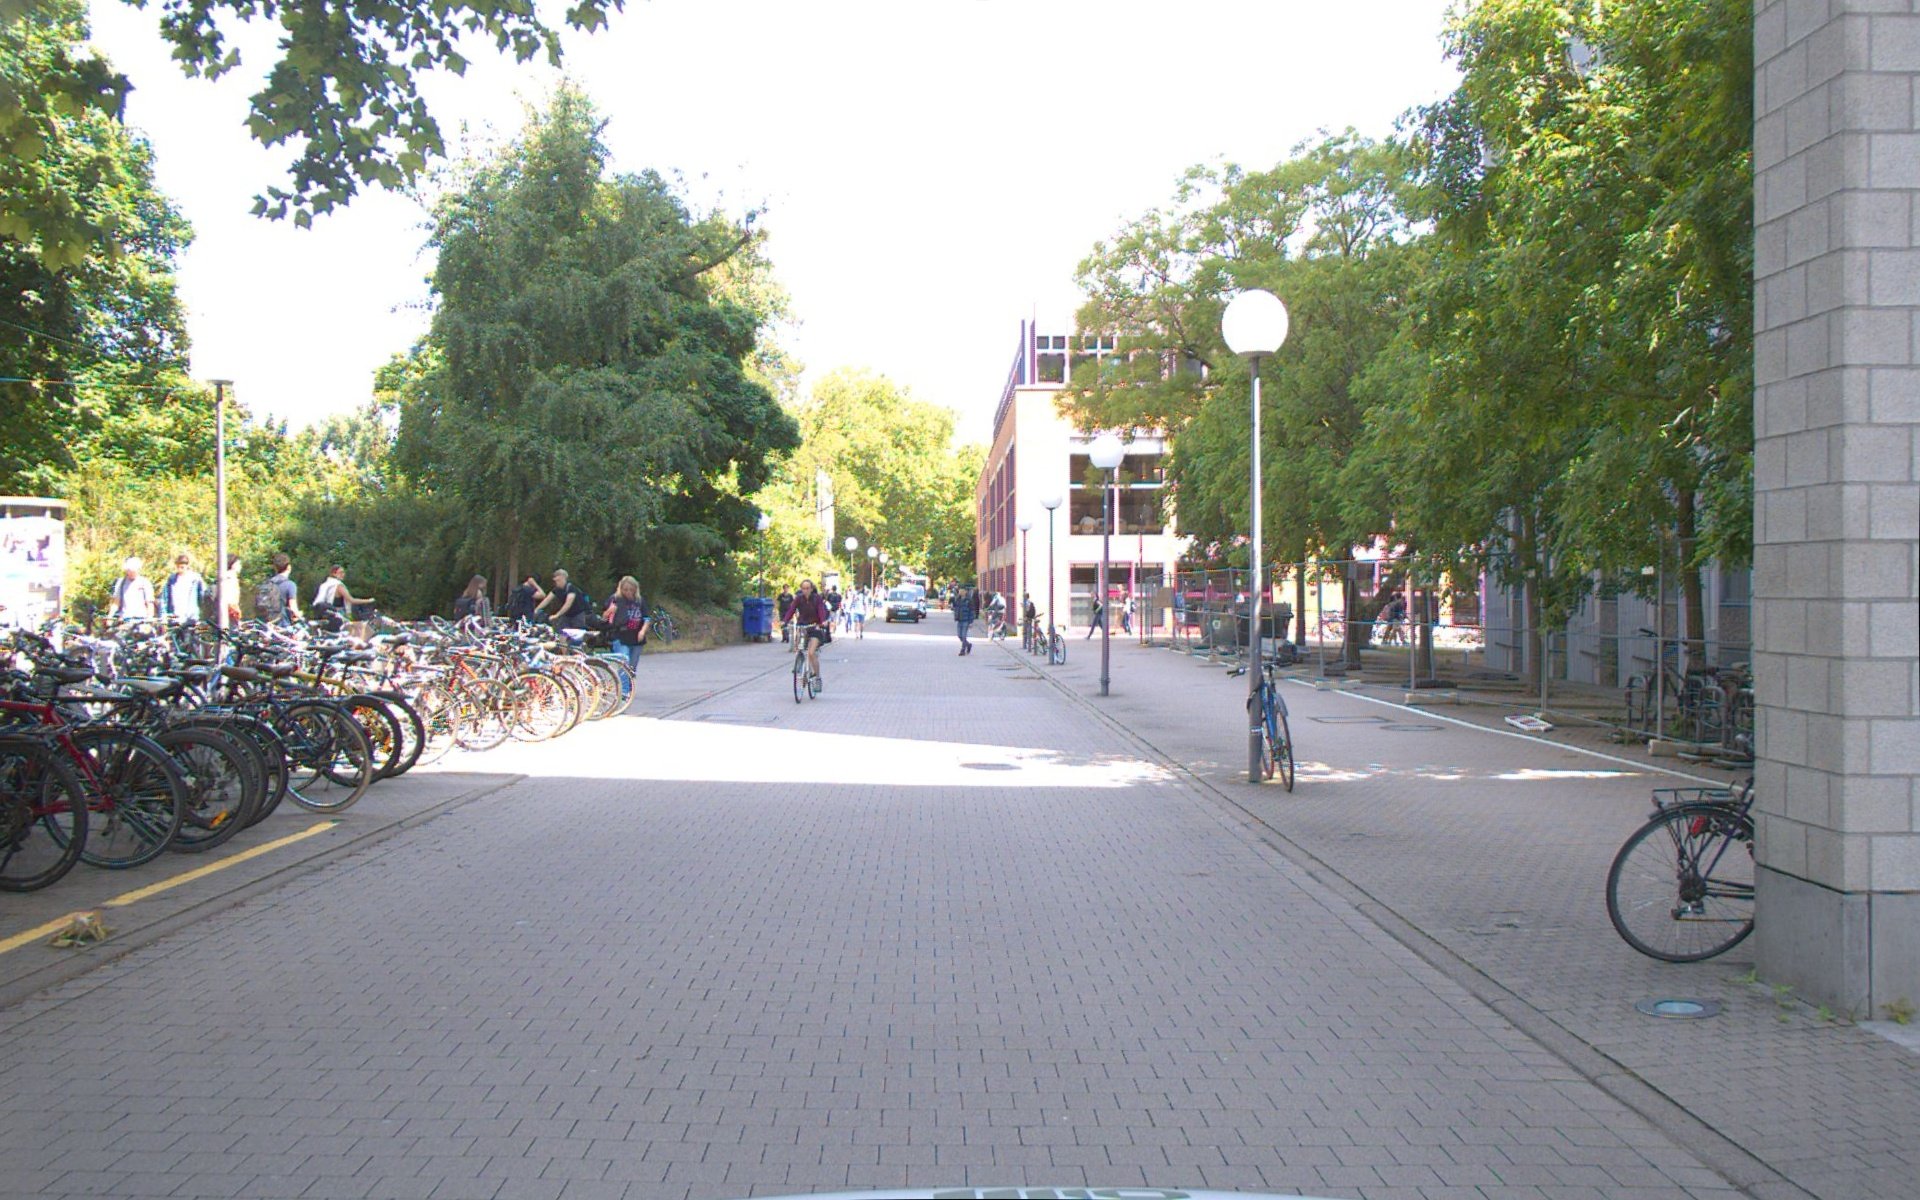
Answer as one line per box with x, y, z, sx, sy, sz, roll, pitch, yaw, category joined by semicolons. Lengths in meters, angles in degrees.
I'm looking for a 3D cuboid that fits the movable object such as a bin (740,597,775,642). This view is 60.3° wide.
-6.392;0.616;52.252;0.694;1.359;1.240;3;0;9;movable object such as a bin

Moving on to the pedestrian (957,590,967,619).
0.124;0.258;97.217;0.574;1.702;0.817;-1;-1;0;pedestrian

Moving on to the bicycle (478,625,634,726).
-4.565;0.852;18.751;1.662;1.110;0.473;1;0;-7;bicycle

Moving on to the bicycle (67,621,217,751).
-7.505;0.765;15.146;1.665;1.102;0.472;1;0;34;bicycle

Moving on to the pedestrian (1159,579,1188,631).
7.387;0.174;57.163;0.883;1.759;0.685;-1;-2;17;pedestrian

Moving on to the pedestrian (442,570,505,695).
-6.958;0.459;23.661;0.670;1.754;0.731;1;0;-3;pedestrian

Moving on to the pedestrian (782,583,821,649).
-4.597;0.446;47.880;0.773;1.877;1.109;1;0;-25;pedestrian

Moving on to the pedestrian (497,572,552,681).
-7.194;0.433;27.364;0.670;1.754;0.903;1;0;-3;pedestrian

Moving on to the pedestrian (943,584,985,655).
0.114;0.525;45.006;0.867;1.890;1.033;1;0;17;pedestrian

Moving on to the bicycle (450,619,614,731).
-4.641;0.812;17.988;1.662;1.189;0.473;1;0;-7;bicycle

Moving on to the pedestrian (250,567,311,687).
-10.146;0.392;24.683;0.679;1.754;0.722;-1;1;-37;pedestrian

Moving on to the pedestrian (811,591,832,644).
-4.378;0.545;52.275;0.558;1.639;0.916;1;-1;-10;pedestrian

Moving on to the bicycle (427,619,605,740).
-4.601;0.805;17.137;1.737;1.189;0.474;1;0;12;bicycle

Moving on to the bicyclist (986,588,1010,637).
1.366;0.435;59.688;0.581;1.746;0.658;0;0;-33;bicyclist

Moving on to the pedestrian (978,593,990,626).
1.238;0.486;84.144;0.574;1.702;0.699;-1;-1;0;pedestrian

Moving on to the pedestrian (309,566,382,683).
-9.402;0.366;25.322;0.917;1.754;0.676;0;1;-10;pedestrian

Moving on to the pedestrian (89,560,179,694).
-11.630;0.370;23.313;0.752;1.835;0.984;1;0;0;pedestrian

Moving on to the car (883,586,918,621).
-3.129;0.170;87.985;1.754;1.792;4.480;0;1;-1;car

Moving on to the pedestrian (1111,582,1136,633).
6.024;0.280;60.968;0.809;1.876;0.684;1;-1;-3;pedestrian

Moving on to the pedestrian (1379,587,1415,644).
13.610;0.496;51.535;0.884;1.759;0.684;0;-2;-6;pedestrian

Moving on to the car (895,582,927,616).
-2.977;-0.068;101.334;1.845;2.008;5.214;0;0;-1;car

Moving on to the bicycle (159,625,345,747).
-6.773;0.806;15.829;1.658;1.102;0.474;1;0;12;bicycle

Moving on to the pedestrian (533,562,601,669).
-7.001;0.275;29.486;0.601;1.867;1.047;0;0;32;pedestrian

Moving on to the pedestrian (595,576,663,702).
-4.602;0.520;22.975;0.757;1.709;0.901;-1;1;-23;pedestrian

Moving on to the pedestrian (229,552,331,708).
-8.359;0.352;20.340;0.672;1.867;0.938;0;1;33;pedestrian

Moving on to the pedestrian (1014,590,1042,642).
2.226;0.529;54.218;0.834;1.680;0.588;1;-1;6;pedestrian

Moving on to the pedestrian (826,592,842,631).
-5.400;0.500;70.829;0.669;1.649;0.913;1;-1;-6;pedestrian

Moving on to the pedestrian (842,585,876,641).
-3.492;0.442;57.367;0.709;1.914;1.081;0;-1;25;pedestrian

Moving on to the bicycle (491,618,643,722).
-4.550;0.813;19.221;1.663;1.179;0.473;1;0;-10;bicycle

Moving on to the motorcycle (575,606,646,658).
-7.831;0.708;37.006;1.990;1.065;0.471;3;1;42;motorcycle

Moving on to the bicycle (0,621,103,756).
-8.271;0.752;14.554;1.662;1.102;0.473;1;0;30;bicycle

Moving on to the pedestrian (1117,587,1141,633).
6.159;0.370;60.276;0.765;1.649;0.684;1;-1;-3;pedestrian

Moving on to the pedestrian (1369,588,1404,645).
13.462;0.528;52.236;0.884;1.759;0.684;0;-2;-6;pedestrian

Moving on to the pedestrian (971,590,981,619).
0.942;0.276;98.553;0.574;1.702;0.817;-1;-1;0;pedestrian

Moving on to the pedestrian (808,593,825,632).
-6.146;0.518;70.748;0.669;1.649;0.977;1;-1;-6;pedestrian

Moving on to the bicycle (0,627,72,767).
-8.208;0.782;13.943;1.662;1.102;0.473;1;0;30;bicycle

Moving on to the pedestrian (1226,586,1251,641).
9.366;0.440;55.600;0.750;1.826;0.588;-1;-1;6;pedestrian

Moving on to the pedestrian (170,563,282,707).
-9.211;0.420;20.779;0.704;1.754;1.062;0;1;31;pedestrian

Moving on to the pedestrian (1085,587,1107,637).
4.690;0.405;56.973;0.682;1.702;0.588;-1;-1;6;pedestrian

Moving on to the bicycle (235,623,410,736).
-6.511;0.799;16.908;1.658;1.102;0.474;1;0;11;bicycle

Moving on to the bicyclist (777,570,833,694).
-2.213;0.455;23.743;0.756;1.746;0.910;-1;-1;-4;bicyclist

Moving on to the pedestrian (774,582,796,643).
-5.521;0.403;52.209;0.669;1.905;1.119;1;-1;-5;pedestrian

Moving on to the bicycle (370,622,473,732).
-5.851;0.811;18.041;0.496;1.102;1.700;1;0;2;bicycle

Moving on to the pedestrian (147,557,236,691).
-10.846;0.331;23.361;0.815;1.847;0.882;1;0;0;pedestrian

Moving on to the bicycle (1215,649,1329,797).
2.525;0.965;13.538;0.526;1.057;1.858;-1;0;-2;bicycle

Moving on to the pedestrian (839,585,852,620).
-6.313;0.142;91.073;0.668;1.876;0.783;1;-1;-1;pedestrian

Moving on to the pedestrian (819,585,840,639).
-4.610;0.421;58.308;0.668;1.876;0.783;1;-1;-1;pedestrian

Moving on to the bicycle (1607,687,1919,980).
3.506;0.903;6.613;1.705;1.057;0.449;-1;1;-6;bicycle
